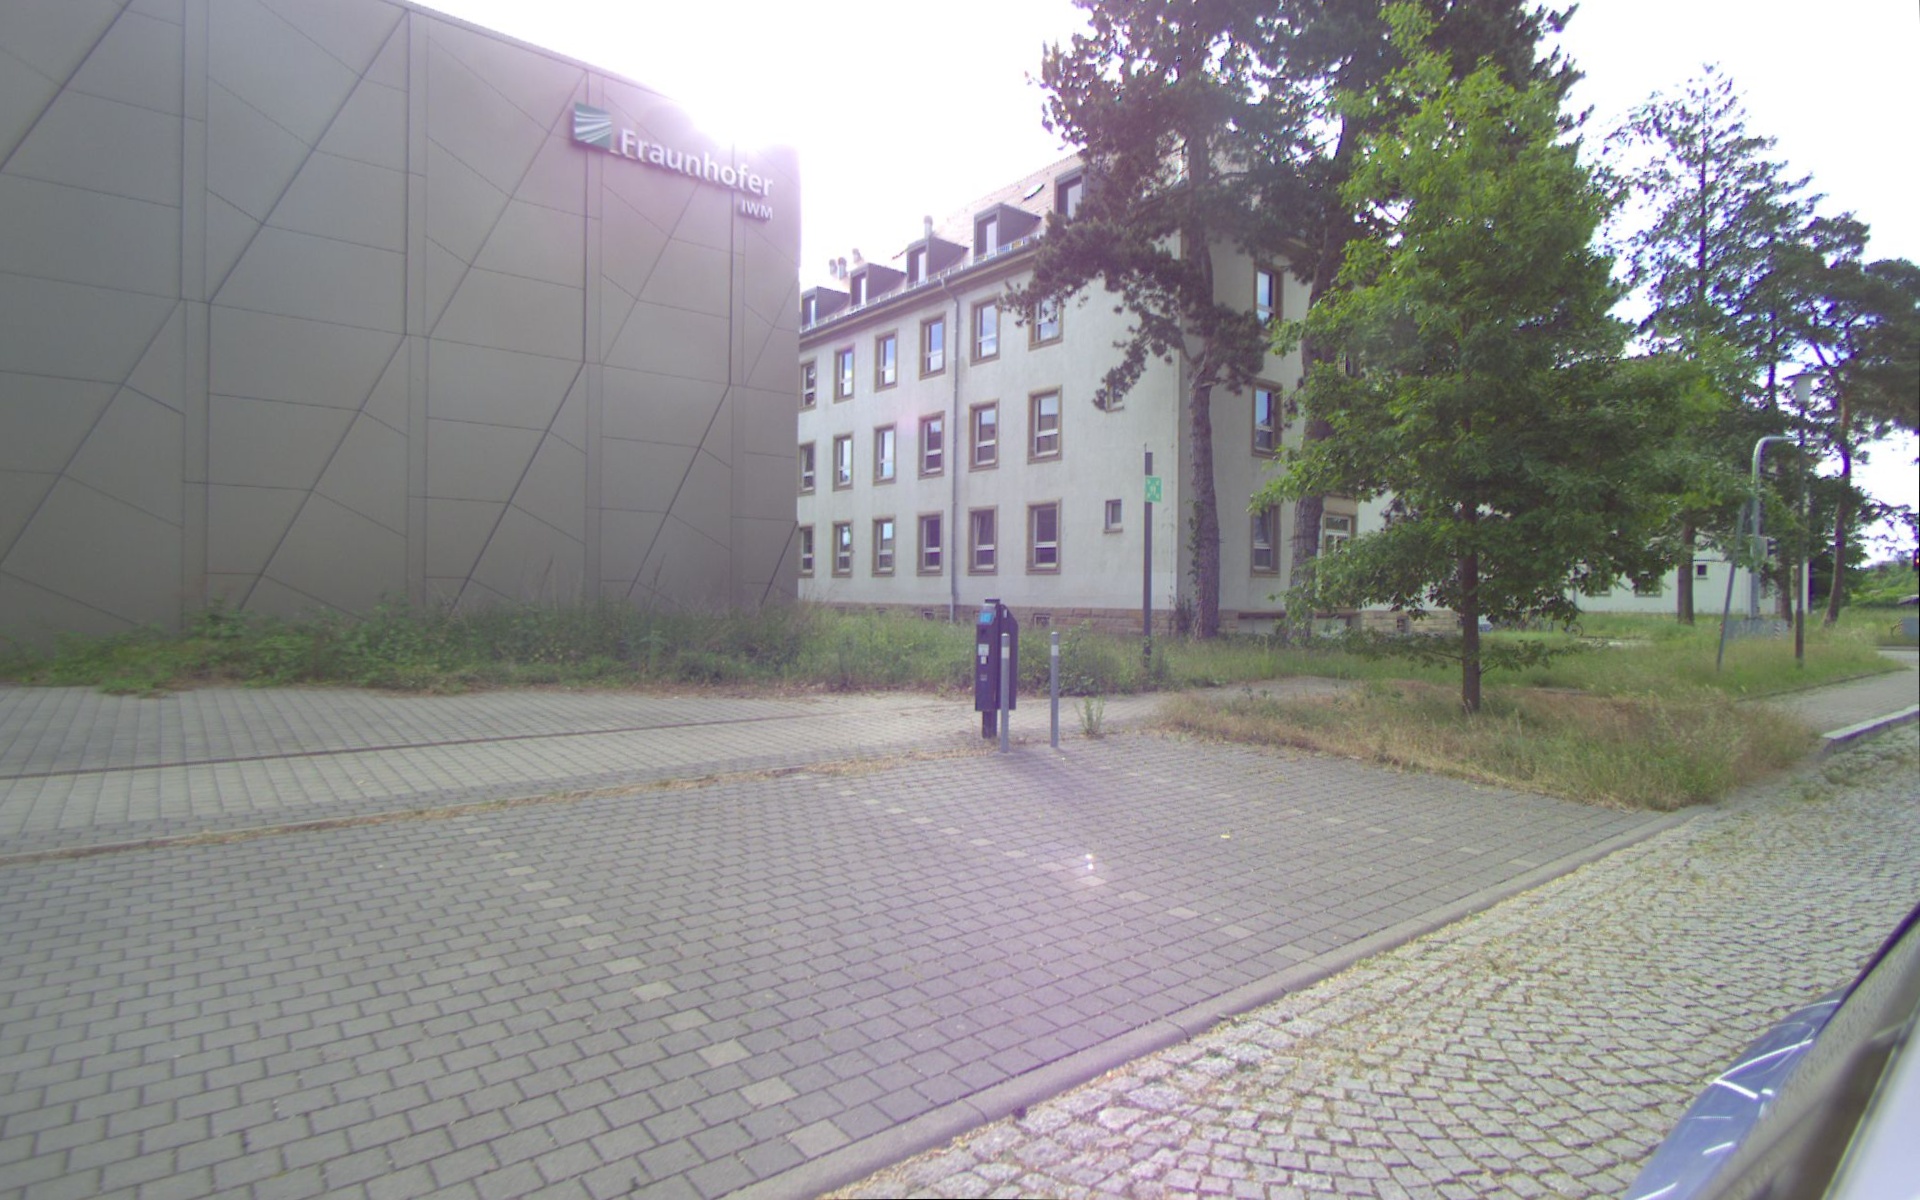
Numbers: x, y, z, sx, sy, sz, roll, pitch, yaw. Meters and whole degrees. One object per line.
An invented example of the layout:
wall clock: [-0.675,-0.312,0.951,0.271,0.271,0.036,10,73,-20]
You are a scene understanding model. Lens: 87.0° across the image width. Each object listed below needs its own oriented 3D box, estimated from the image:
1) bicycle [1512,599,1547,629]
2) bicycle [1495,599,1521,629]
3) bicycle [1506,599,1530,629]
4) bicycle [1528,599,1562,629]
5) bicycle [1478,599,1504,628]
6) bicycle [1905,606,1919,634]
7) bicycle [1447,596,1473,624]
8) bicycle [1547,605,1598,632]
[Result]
bicycle: [26.188,0.627,46.545,1.801,1.349,0.573,1,0,-32]
bicycle: [25.624,0.639,47.285,1.808,1.349,0.571,1,0,-45]
bicycle: [25.886,0.633,46.941,1.808,1.349,0.481,1,0,-45]
bicycle: [26.668,0.635,46.128,1.801,1.349,0.573,1,0,-32]
bicycle: [25.098,0.629,47.842,1.808,1.349,0.571,1,0,-45]
bicycle: [38.990,0.805,40.372,0.563,1.098,1.835,-2,1,-40]
bicycle: [24.150,0.477,48.899,1.808,1.349,0.571,1,0,-45]
bicycle: [26.467,0.792,43.752,0.562,1.098,1.838,-1,1,-35]
